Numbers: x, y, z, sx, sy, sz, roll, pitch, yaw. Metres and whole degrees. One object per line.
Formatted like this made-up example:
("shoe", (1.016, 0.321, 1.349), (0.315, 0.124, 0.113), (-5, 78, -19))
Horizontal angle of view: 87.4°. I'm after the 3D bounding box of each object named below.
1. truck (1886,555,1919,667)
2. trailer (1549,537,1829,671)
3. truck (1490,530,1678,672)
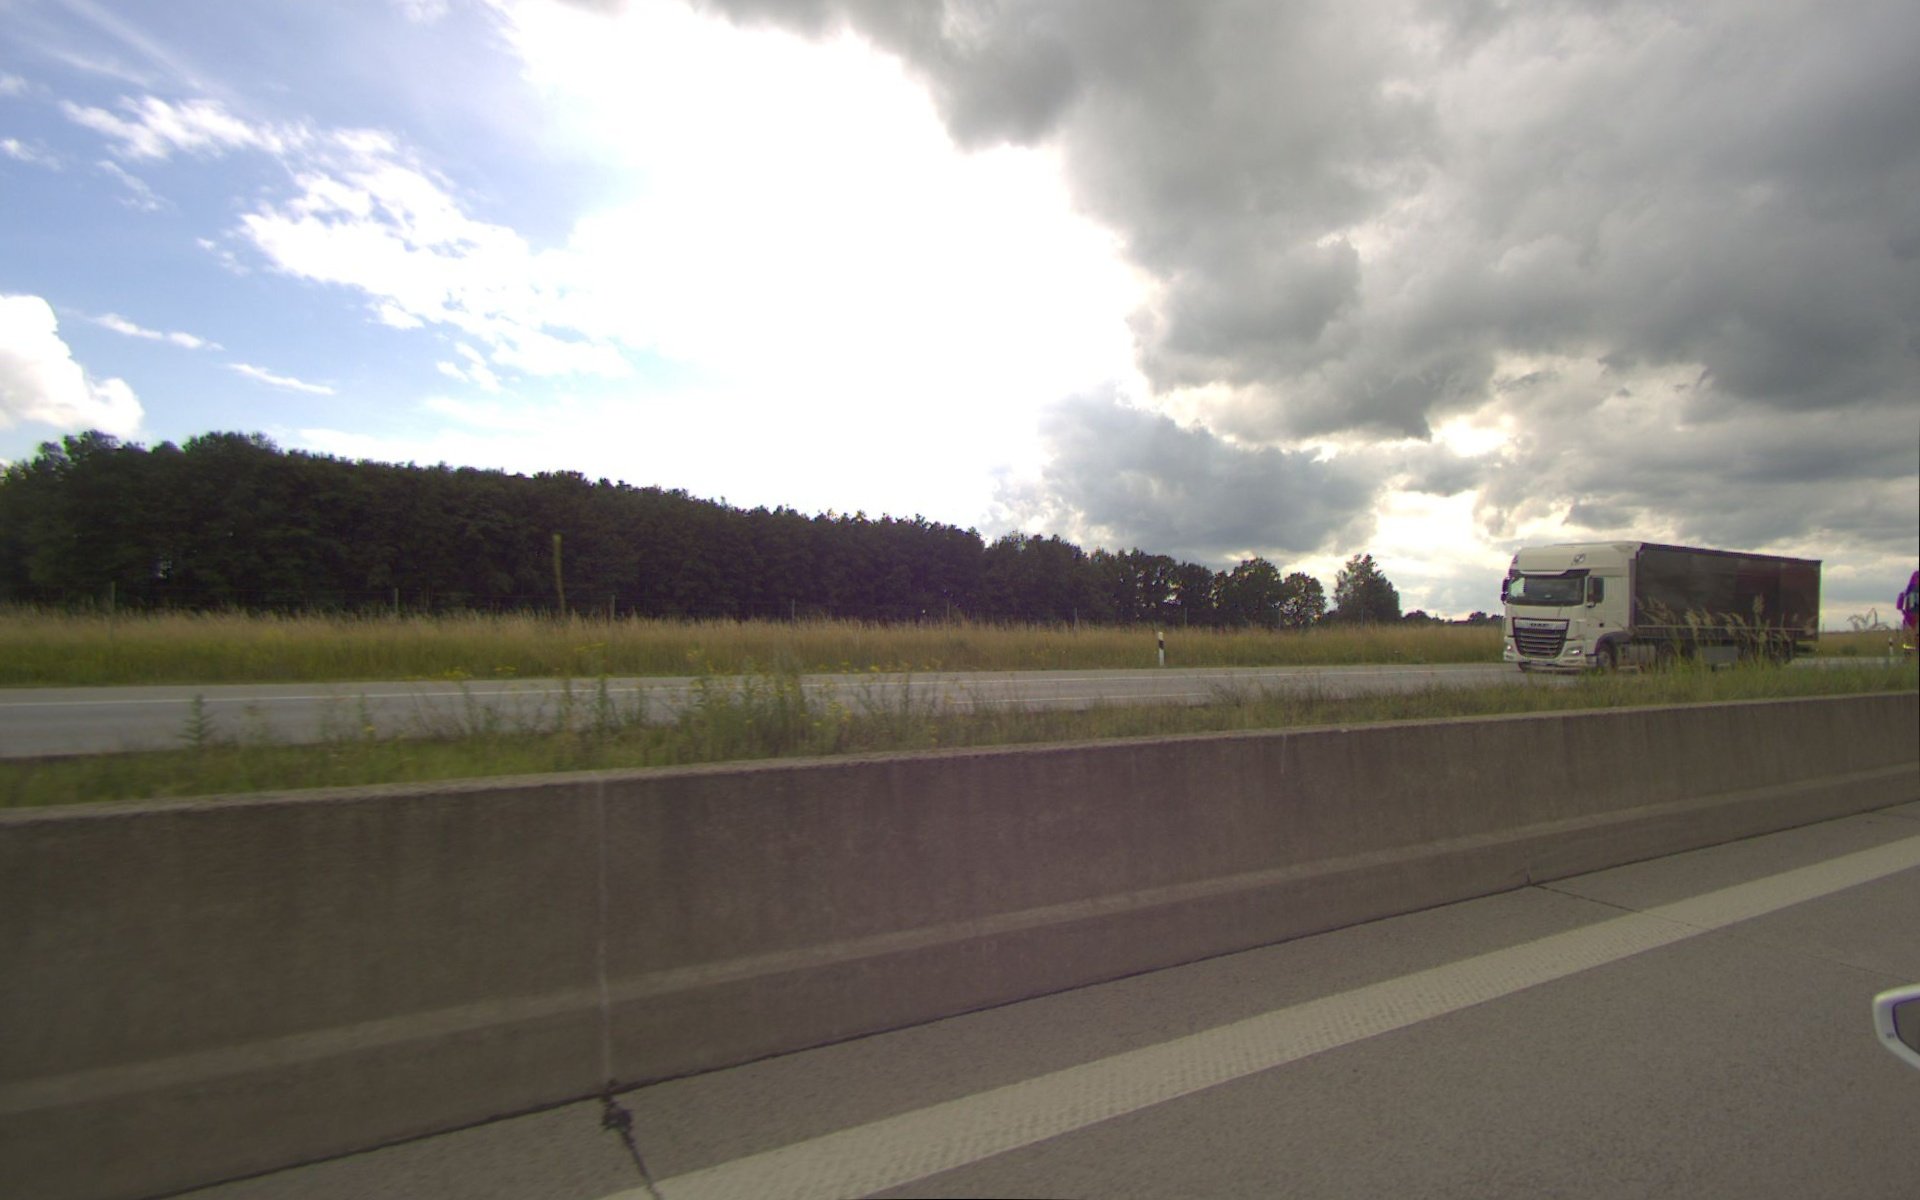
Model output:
("truck", (39.734, 0.489, 38.930), (10.446, 4.092, 2.802), (1, -1, -31))
("trailer", (26.012, 0.268, 35.413), (13.746, 4.092, 2.825), (1, -1, -31))
("truck", (19.678, 0.093, 31.645), (5.447, 4.092, 2.825), (1, 0, -31))
